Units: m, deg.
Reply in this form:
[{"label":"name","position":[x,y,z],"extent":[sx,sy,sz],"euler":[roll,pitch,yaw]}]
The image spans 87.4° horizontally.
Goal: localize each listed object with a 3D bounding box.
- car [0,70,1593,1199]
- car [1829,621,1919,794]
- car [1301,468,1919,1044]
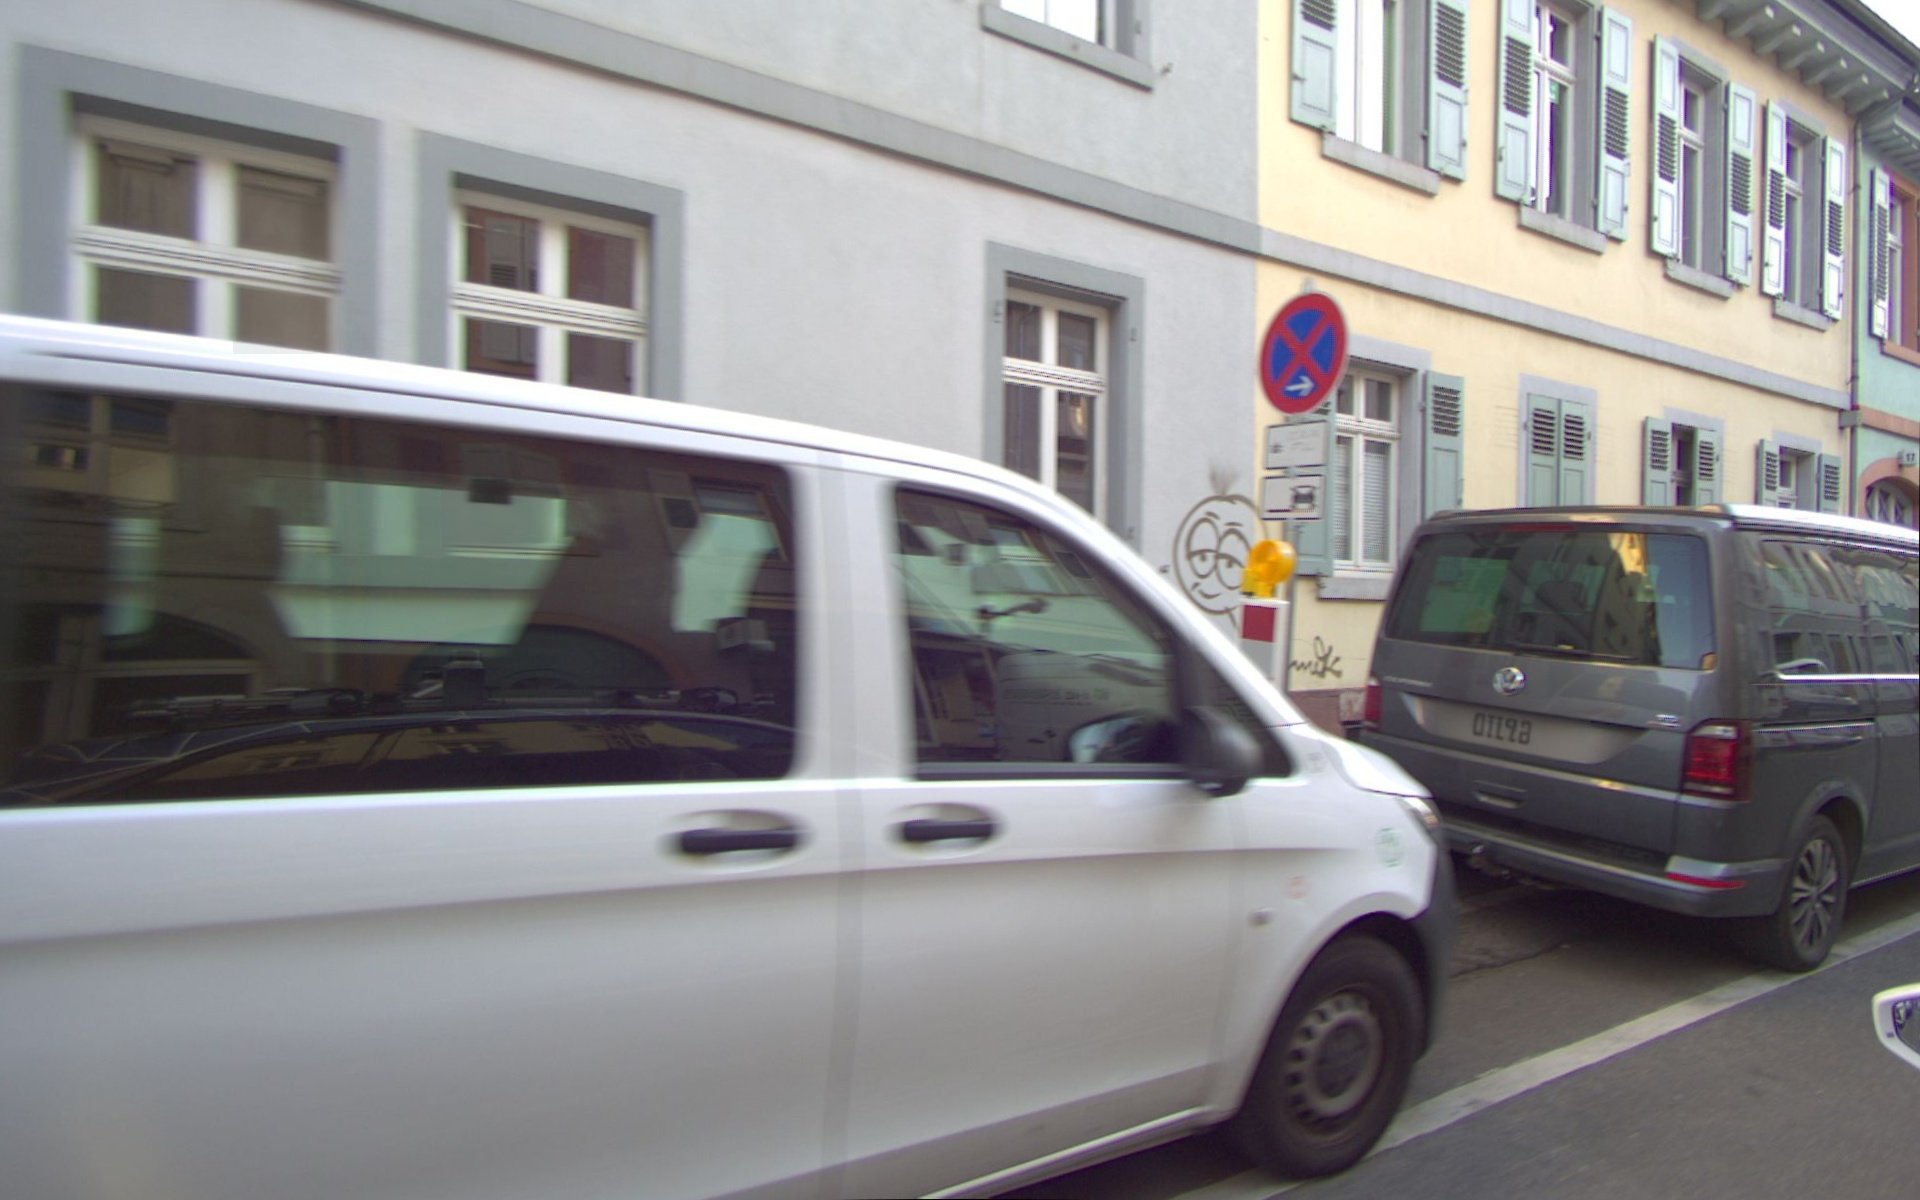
[{"label":"car","position":[-0.728,0.435,2.467],"extent":[5.048,2.040,1.852],"euler":[1,-1,-32]},{"label":"car","position":[9.958,0.946,9.180],"extent":[4.212,1.420,1.756],"euler":[1,0,-30]},{"label":"car","position":[4.251,0.594,5.618],"extent":[4.760,2.040,1.852],"euler":[1,-1,-32]}]
